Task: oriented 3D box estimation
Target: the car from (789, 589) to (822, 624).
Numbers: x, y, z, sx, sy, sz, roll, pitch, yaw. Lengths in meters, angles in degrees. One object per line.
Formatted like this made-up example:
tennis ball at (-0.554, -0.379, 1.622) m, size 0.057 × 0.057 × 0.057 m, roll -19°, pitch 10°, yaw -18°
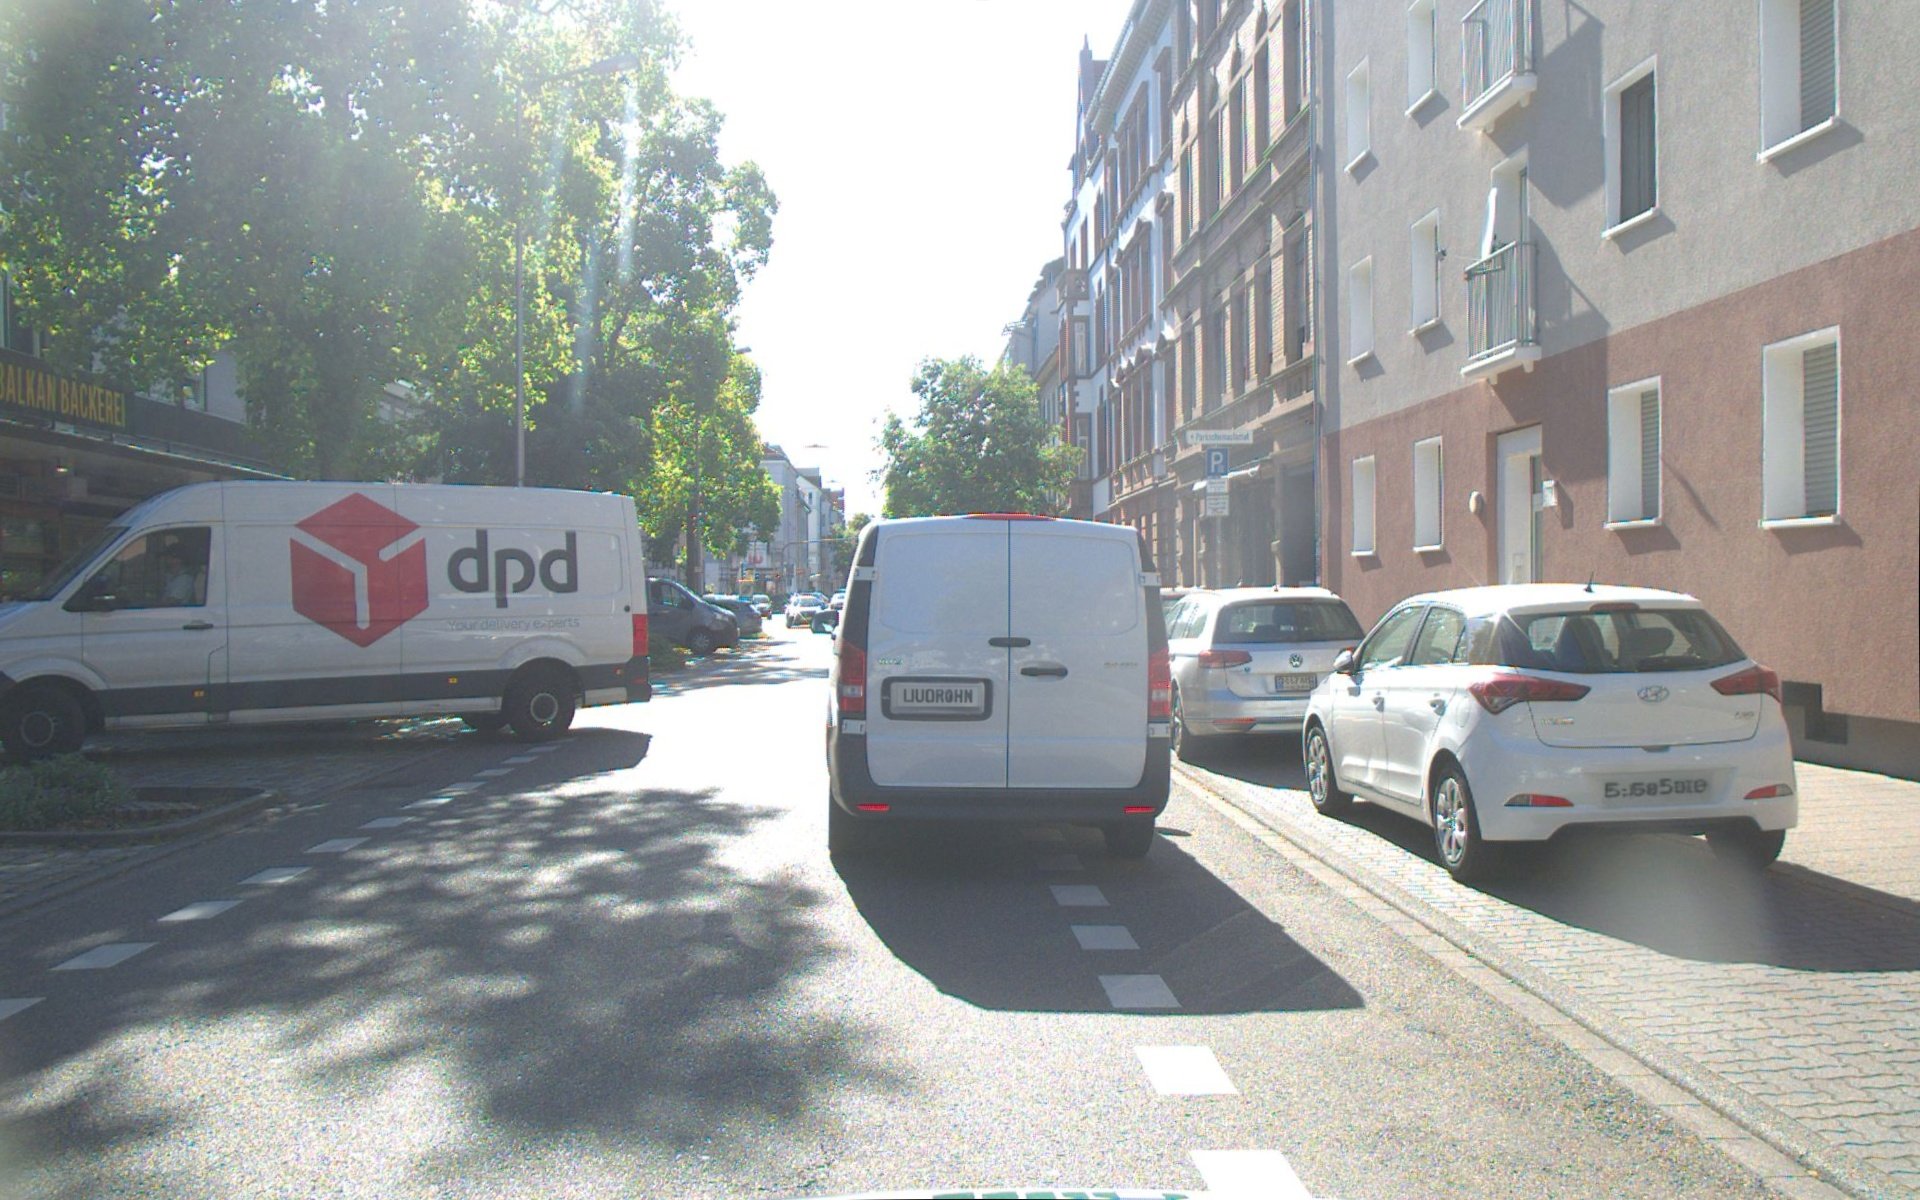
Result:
car at (-7.379, 0.281, 78.627) m, size 1.501 × 1.624 × 3.995 m, roll -1°, pitch 0°, yaw -6°

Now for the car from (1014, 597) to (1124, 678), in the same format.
car at (2.117, 0.703, 33.188) m, size 1.704 × 1.477 × 3.997 m, roll -1°, pitch 0°, yaw -3°

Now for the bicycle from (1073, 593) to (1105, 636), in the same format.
bicycle at (3.719, 0.427, 47.711) m, size 0.526 × 1.168 × 2.123 m, roll -8°, pitch -1°, yaw -2°

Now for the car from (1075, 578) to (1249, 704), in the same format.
car at (2.593, 0.494, 22.001) m, size 1.675 × 1.506 × 3.708 m, roll -1°, pitch 0°, yaw -3°

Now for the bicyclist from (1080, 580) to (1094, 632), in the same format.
bicyclist at (3.673, 0.175, 47.823) m, size 0.353 × 1.503 × 0.530 m, roll 0°, pitch 0°, yaw 0°

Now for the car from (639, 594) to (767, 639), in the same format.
car at (-8.960, 0.565, 57.892) m, size 4.217 × 1.485 × 1.762 m, roll 1°, pitch 0°, yaw -1°

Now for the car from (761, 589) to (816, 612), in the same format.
car at (-12.570, 0.012, 121.474) m, size 3.908 × 1.668 × 1.998 m, roll 0°, pitch 0°, yaw -4°

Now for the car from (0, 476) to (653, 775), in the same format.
car at (-6.452, 0.169, 16.359) m, size 6.531 × 2.517 × 1.974 m, roll -1°, pitch 0°, yaw -37°

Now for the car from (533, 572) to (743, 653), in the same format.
car at (-8.448, 0.321, 43.733) m, size 5.187 × 2.009 × 2.014 m, roll 1°, pitch 0°, yaw -3°

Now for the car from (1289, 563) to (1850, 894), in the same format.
car at (3.321, 0.600, 9.850) m, size 1.697 × 1.512 × 3.792 m, roll -2°, pitch 0°, yaw -4°

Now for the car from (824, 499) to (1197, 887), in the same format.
car at (0.094, 0.454, 10.811) m, size 1.883 × 1.947 × 4.884 m, roll 1°, pitch 0°, yaw -4°

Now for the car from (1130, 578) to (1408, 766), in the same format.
car at (2.779, 0.582, 15.893) m, size 1.749 × 1.485 × 4.516 m, roll -2°, pitch 0°, yaw -1°

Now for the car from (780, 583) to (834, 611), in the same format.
car at (-11.493, -0.238, 124.196) m, size 3.907 × 2.049 × 1.999 m, roll -1°, pitch 0°, yaw -3°

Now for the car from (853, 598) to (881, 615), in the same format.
car at (-5.463, 0.377, 97.204) m, size 1.578 × 0.984 × 3.997 m, roll -1°, pitch 0°, yaw -3°
